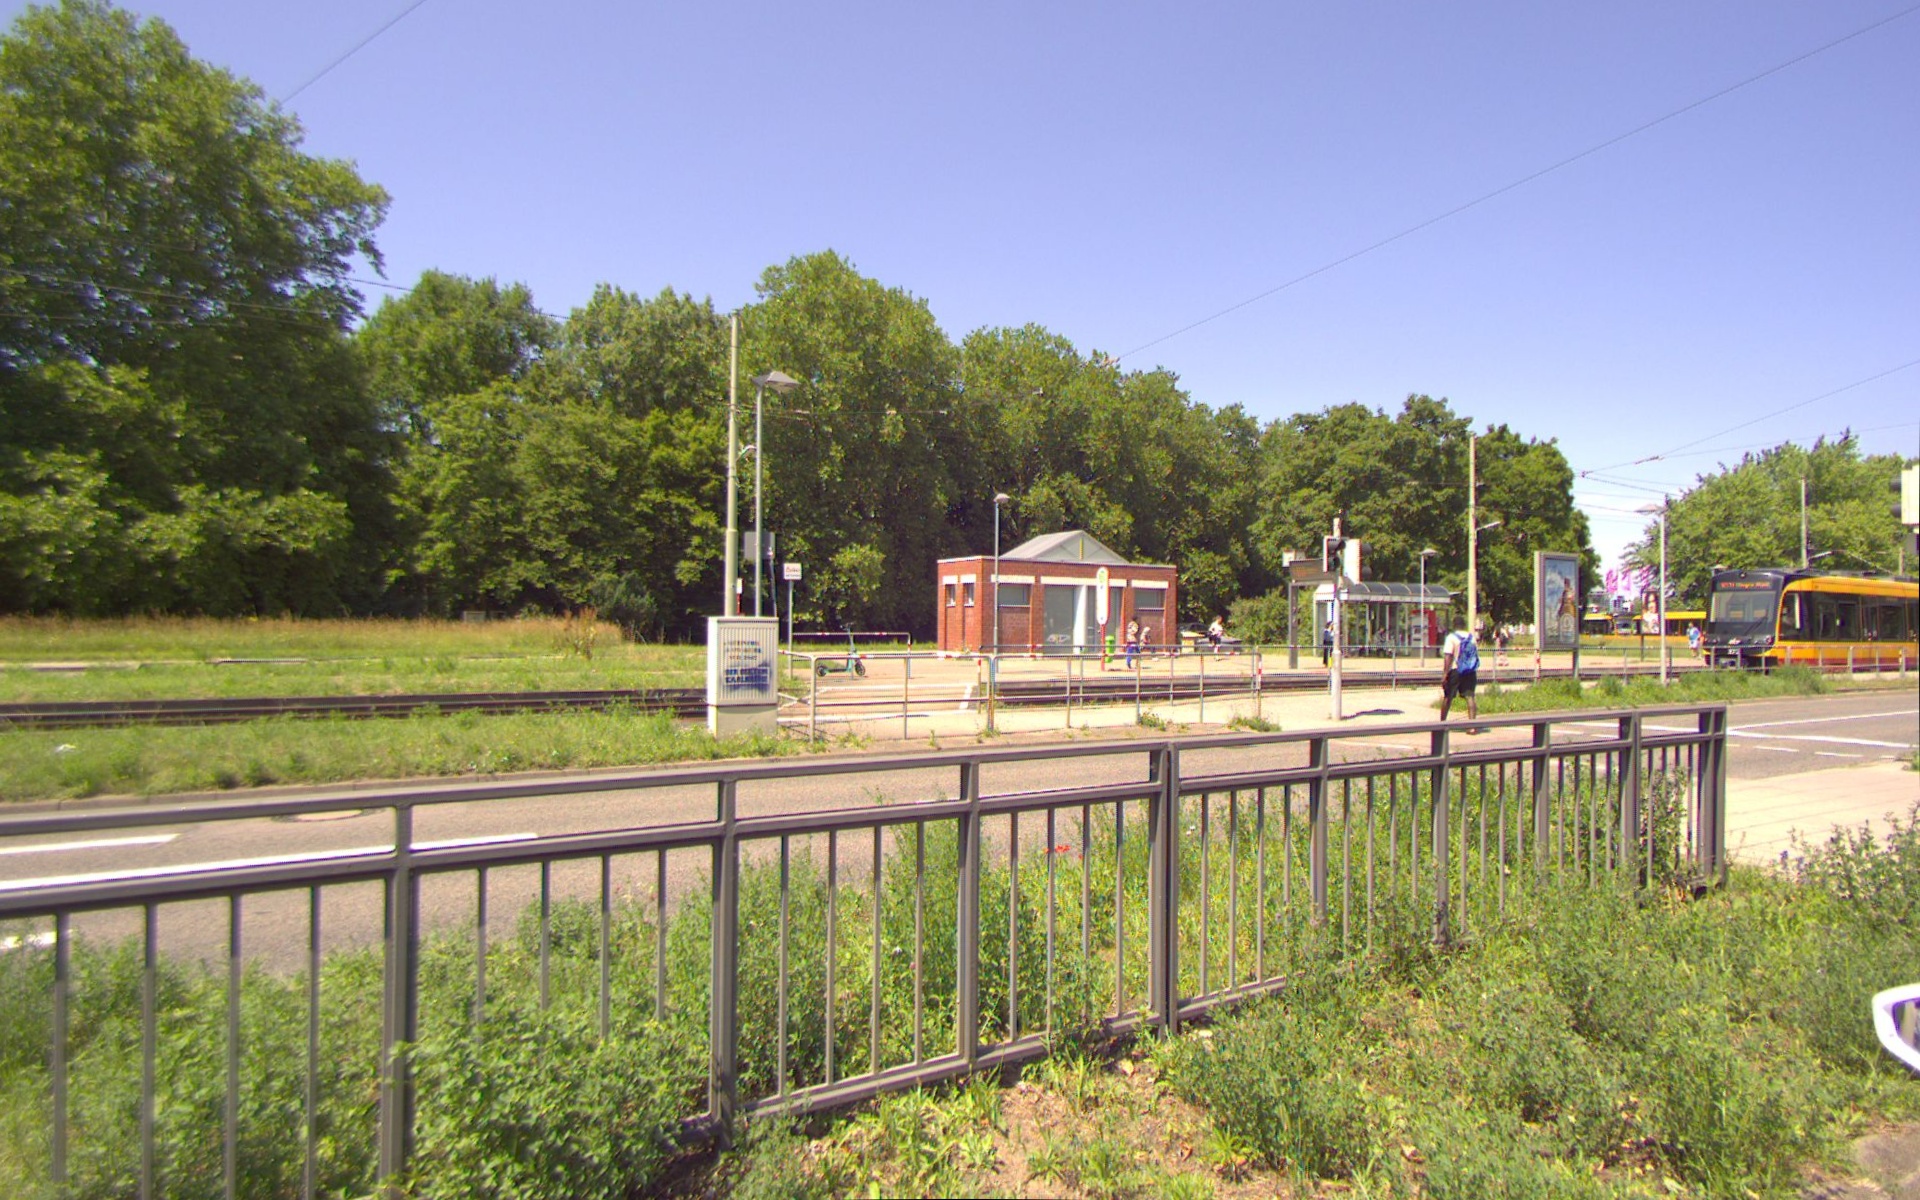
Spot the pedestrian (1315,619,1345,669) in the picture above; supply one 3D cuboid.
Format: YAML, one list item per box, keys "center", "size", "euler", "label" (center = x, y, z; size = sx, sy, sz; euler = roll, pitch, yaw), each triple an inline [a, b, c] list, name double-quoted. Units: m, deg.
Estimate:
- center: [11.928, 1.403, 32.380]
  size: [0.688, 1.575, 0.629]
  euler: [1, -1, -42]
  label: "pedestrian"

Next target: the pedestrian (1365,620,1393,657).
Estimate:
- center: [17.248, 1.579, 41.374]
  size: [0.710, 1.531, 0.841]
  euler: [1, -1, -19]
  label: "pedestrian"

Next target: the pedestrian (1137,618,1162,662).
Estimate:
- center: [6.608, 1.393, 35.072]
  size: [0.563, 1.499, 0.636]
  euler: [1, -1, -30]
  label: "pedestrian"

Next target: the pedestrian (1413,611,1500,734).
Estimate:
- center: [7.632, 1.108, 15.453]
  size: [0.711, 1.801, 0.836]
  euler: [-1, -3, -30]
  label: "pedestrian"

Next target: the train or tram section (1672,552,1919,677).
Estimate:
- center: [37.027, 0.753, 39.431]
  size: [29.680, 3.799, 2.944]
  euler: [1, -1, -31]
  label: "train or tram section"

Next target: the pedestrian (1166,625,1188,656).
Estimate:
- center: [8.215, 1.523, 38.055]
  size: [0.560, 1.139, 0.639]
  euler: [1, -1, -15]
  label: "pedestrian"

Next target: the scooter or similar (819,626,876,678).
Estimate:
- center: [-2.634, 1.209, 23.451]
  size: [1.217, 1.183, 0.508]
  euler: [1, -1, -30]
  label: "scooter or similar"

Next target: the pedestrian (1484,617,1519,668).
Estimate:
- center: [20.036, 1.554, 37.154]
  size: [0.832, 1.802, 0.714]
  euler: [-1, 5, -30]
  label: "pedestrian"

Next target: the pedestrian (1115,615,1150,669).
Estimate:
- center: [5.220, 1.262, 30.341]
  size: [0.799, 1.611, 0.668]
  euler: [1, -1, -30]
  label: "pedestrian"

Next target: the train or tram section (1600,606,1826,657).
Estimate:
- center: [65.646, 2.675, 88.832]
  size: [3.170, 3.984, 18.458]
  euler: [1, -1, -12]
  label: "train or tram section"

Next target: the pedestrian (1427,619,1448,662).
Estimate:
- center: [20.546, 1.750, 43.234]
  size: [0.707, 1.824, 0.845]
  euler: [0, -1, 17]
  label: "pedestrian"

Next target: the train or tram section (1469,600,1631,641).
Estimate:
- center: [61.958, 2.166, 106.686]
  size: [3.170, 3.984, 18.458]
  euler: [1, -1, -12]
  label: "train or tram section"

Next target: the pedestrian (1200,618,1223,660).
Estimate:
- center: [9.000, 1.393, 35.894]
  size: [0.573, 1.476, 0.639]
  euler: [1, -1, -11]
  label: "pedestrian"

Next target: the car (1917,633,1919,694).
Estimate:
- center: [25.786, 1.602, 25.052]
  size: [3.747, 1.514, 1.836]
  euler: [1, -1, -30]
  label: "car"

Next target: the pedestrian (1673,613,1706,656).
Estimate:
- center: [34.930, 1.655, 48.107]
  size: [1.009, 2.040, 0.976]
  euler: [1, -1, -30]
  label: "pedestrian"
